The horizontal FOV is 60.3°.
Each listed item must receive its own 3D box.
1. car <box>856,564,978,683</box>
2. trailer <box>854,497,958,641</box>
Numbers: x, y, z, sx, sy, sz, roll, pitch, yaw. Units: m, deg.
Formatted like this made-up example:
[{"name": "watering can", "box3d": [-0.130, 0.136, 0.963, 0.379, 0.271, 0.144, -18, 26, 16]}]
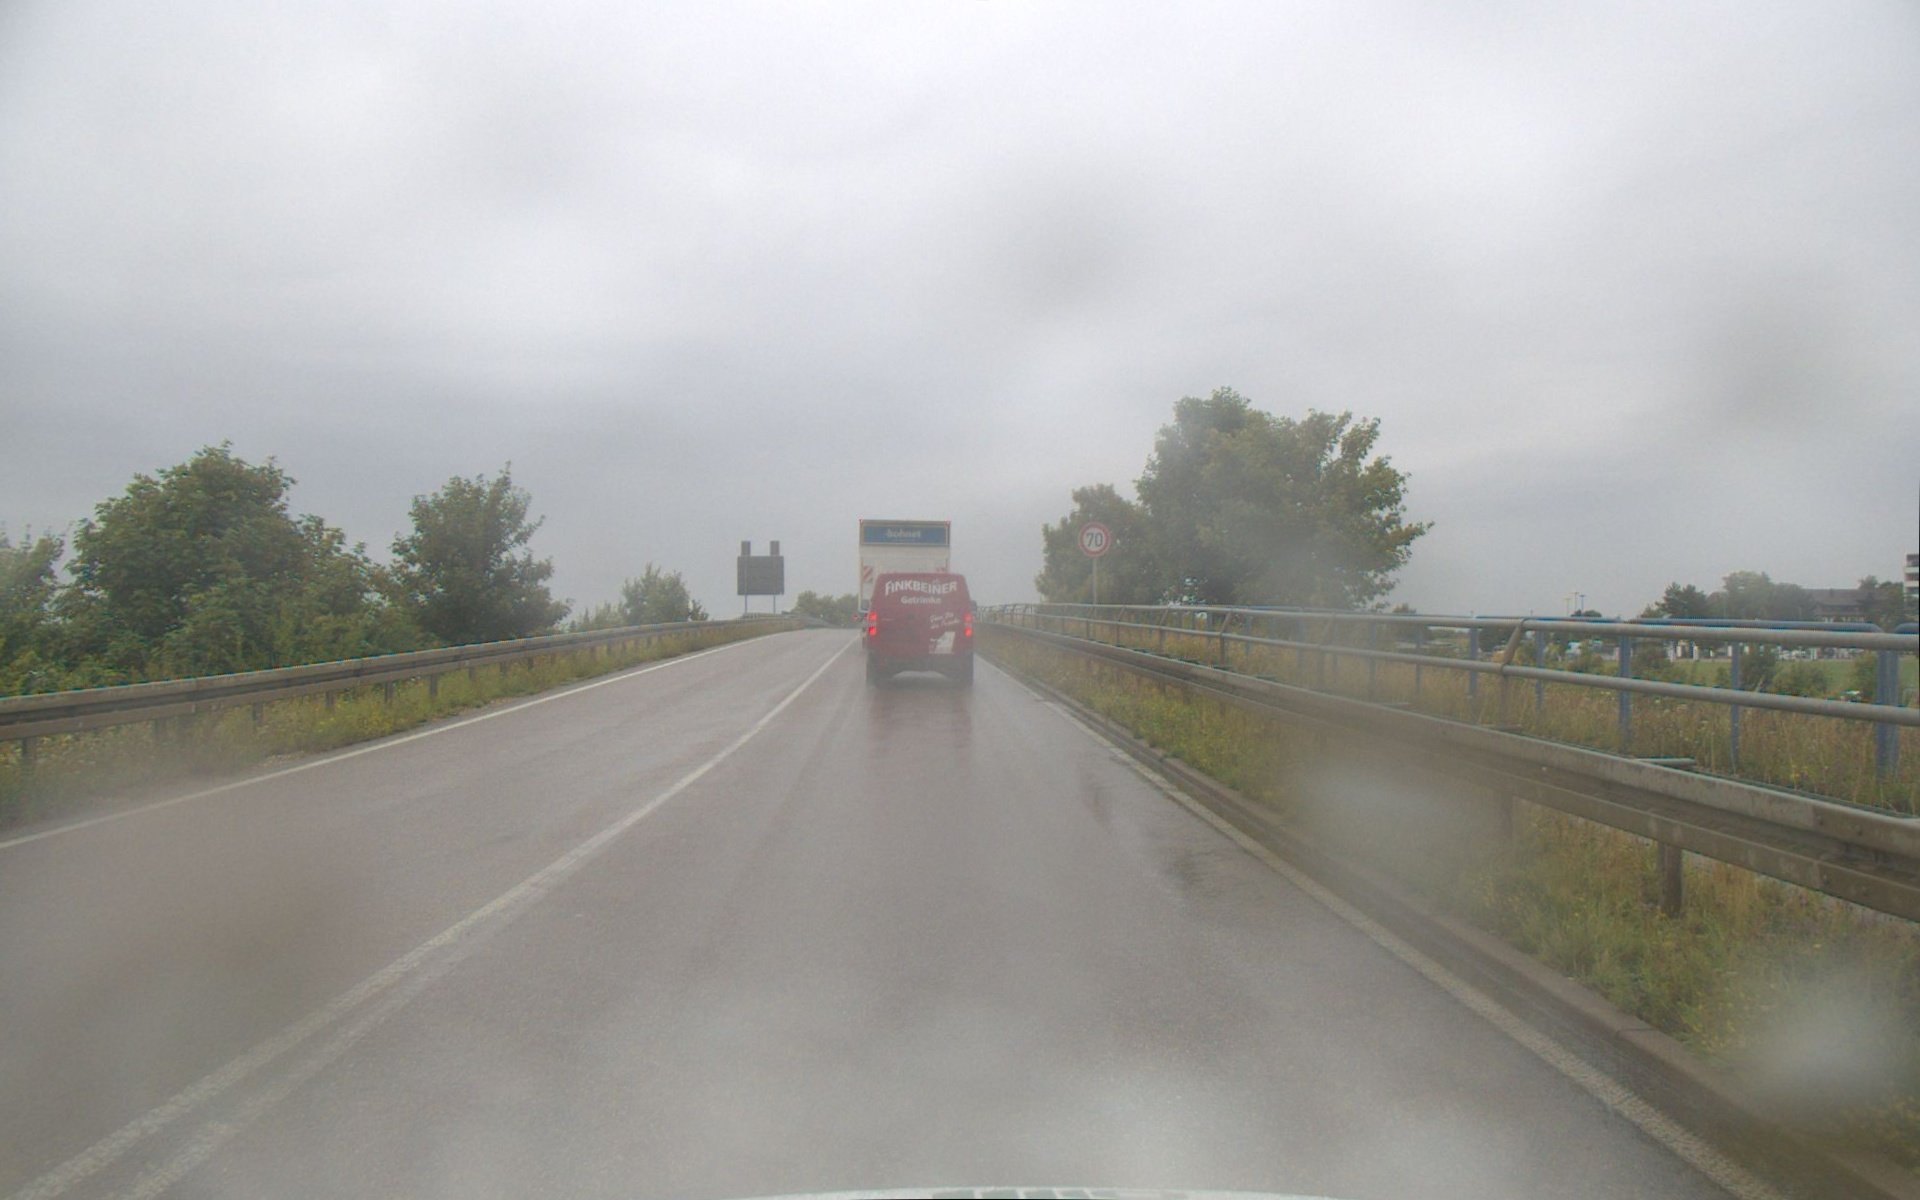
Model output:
[{"name": "car", "box3d": [-0.734, 0.403, 29.495, 1.953, 1.903, 4.977, -1, 0, -1]}, {"name": "trailer", "box3d": [-1.515, -0.767, 49.870, 2.774, 3.886, 9.712, -1, -1, -1]}]
